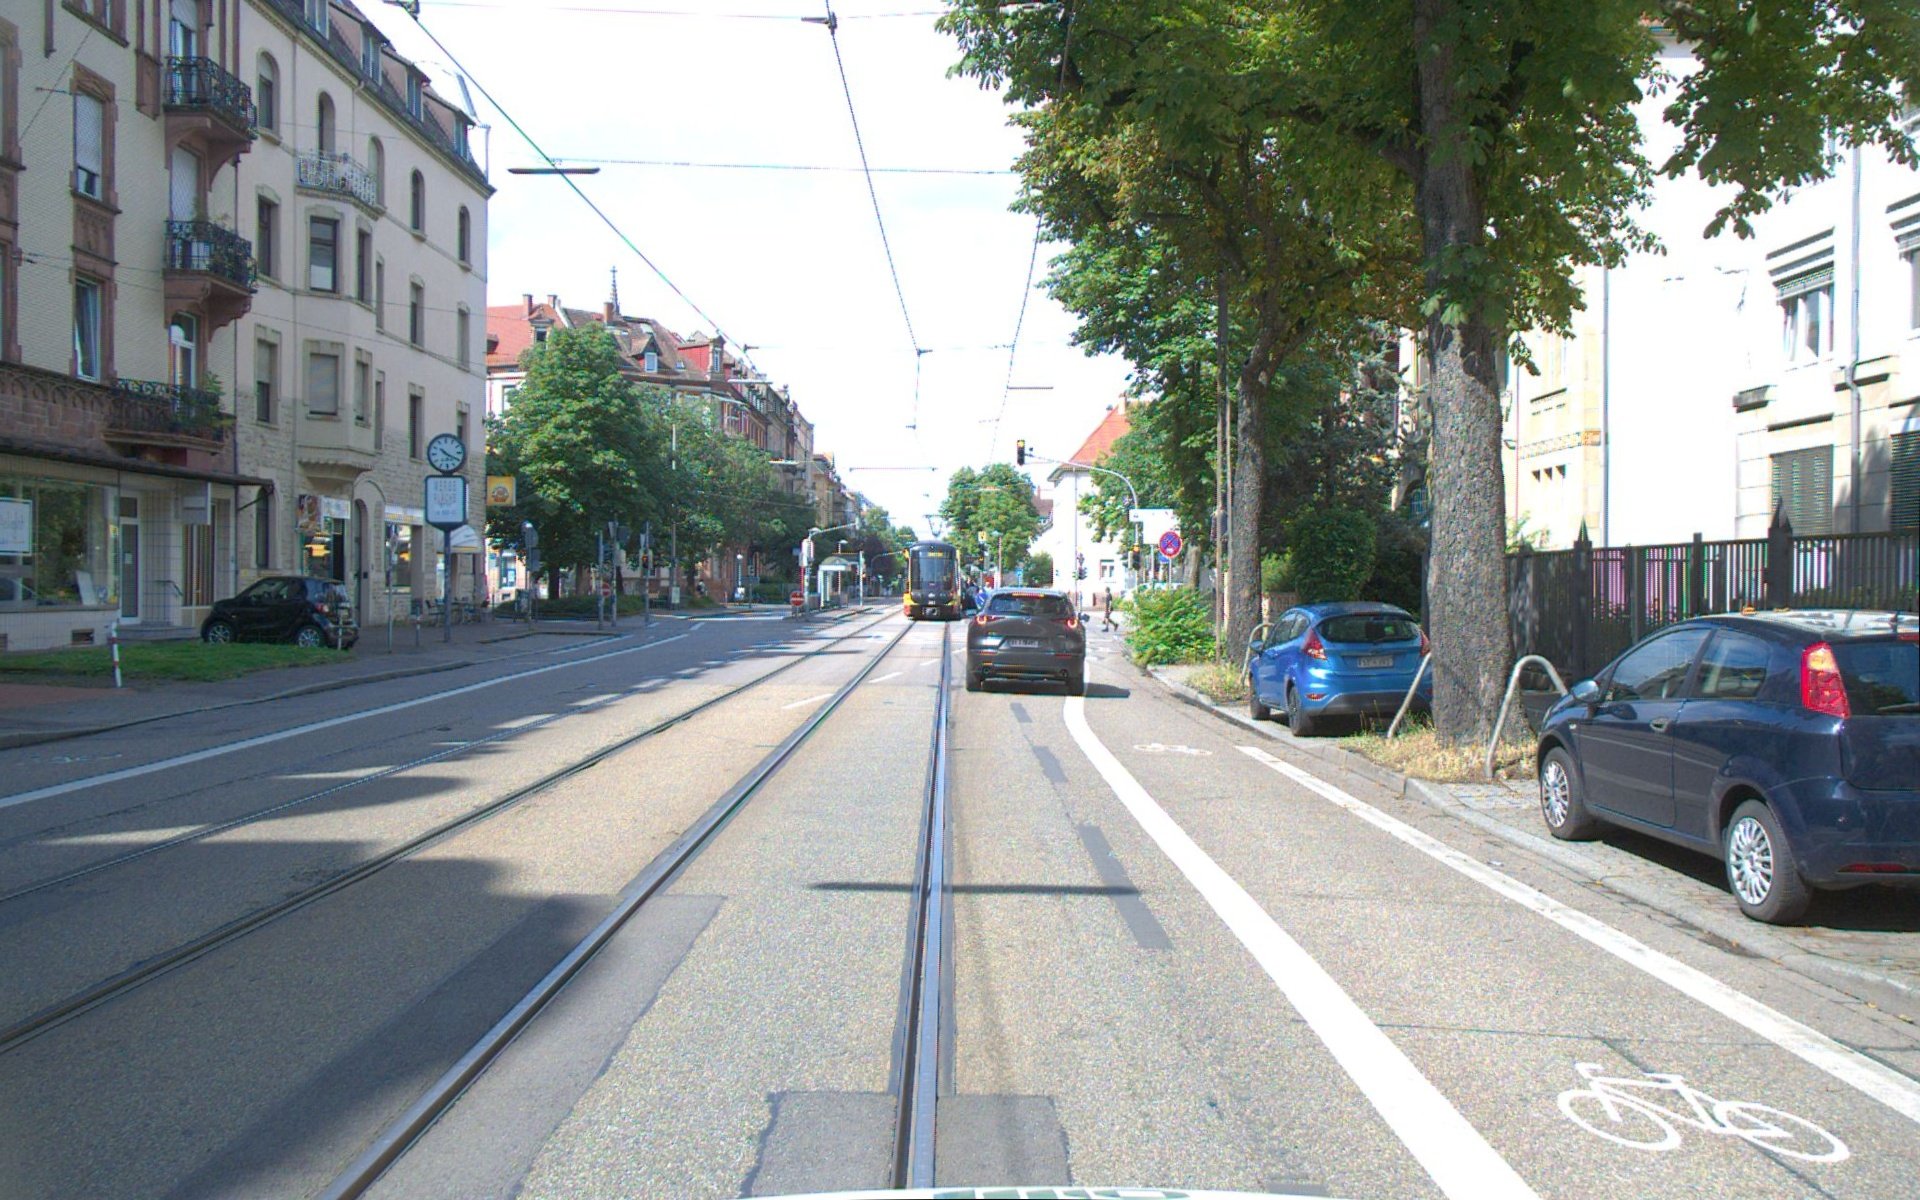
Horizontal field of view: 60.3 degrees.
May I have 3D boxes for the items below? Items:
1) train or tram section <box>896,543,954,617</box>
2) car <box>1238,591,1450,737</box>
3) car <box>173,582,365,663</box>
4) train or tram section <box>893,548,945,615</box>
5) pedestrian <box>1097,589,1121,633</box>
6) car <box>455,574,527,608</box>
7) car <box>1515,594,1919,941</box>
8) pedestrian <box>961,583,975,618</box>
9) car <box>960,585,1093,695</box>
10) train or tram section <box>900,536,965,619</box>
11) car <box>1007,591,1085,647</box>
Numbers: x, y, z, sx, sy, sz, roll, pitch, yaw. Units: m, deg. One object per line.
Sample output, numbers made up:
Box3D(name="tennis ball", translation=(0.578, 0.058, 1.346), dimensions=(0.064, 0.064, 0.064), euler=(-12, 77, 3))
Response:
Box3D(name="train or tram section", translation=(-1.871, -0.981, 85.365), dimensions=(2.599, 3.589, 8.490), euler=(-1, 0, -3))
Box3D(name="car", translation=(4.501, 0.686, 19.923), dimensions=(1.591, 1.522, 3.847), euler=(-2, 0, -1))
Box3D(name="car", translation=(-14.176, 0.454, 34.034), dimensions=(3.169, 1.539, 1.679), euler=(2, 0, 3))
Box3D(name="train or tram section", translation=(-2.379, -0.985, 93.853), dimensions=(2.599, 3.589, 8.490), euler=(-1, 0, -3))
Box3D(name="pedestrian", translation=(5.612, 0.411, 62.354), dimensions=(0.856, 1.633, 0.632), euler=(0, 0, 2))
Box3D(name="car", translation=(-30.858, -0.600, 108.848), dimensions=(4.032, 2.048, 2.002), euler=(-3, 0, 9))
Box3D(name="car", translation=(4.683, 0.755, 9.453), dimensions=(1.607, 1.522, 3.756), euler=(-1, 0, -2))
Box3D(name="pedestrian", translation=(0.375, 0.012, 78.943), dimensions=(0.654, 1.633, 0.699), euler=(0, 0, -2))
Box3D(name="car", translation=(0.949, 0.549, 25.780), dimensions=(1.753, 1.538, 4.349), euler=(1, 1, -2))
Box3D(name="train or tram section", translation=(-1.356, -0.982, 76.877), dimensions=(2.599, 3.589, 8.490), euler=(-1, 0, -3))
Box3D(name="car", translation=(2.434, 0.509, 47.862), dimensions=(1.749, 1.518, 4.880), euler=(0, 1, -3))
